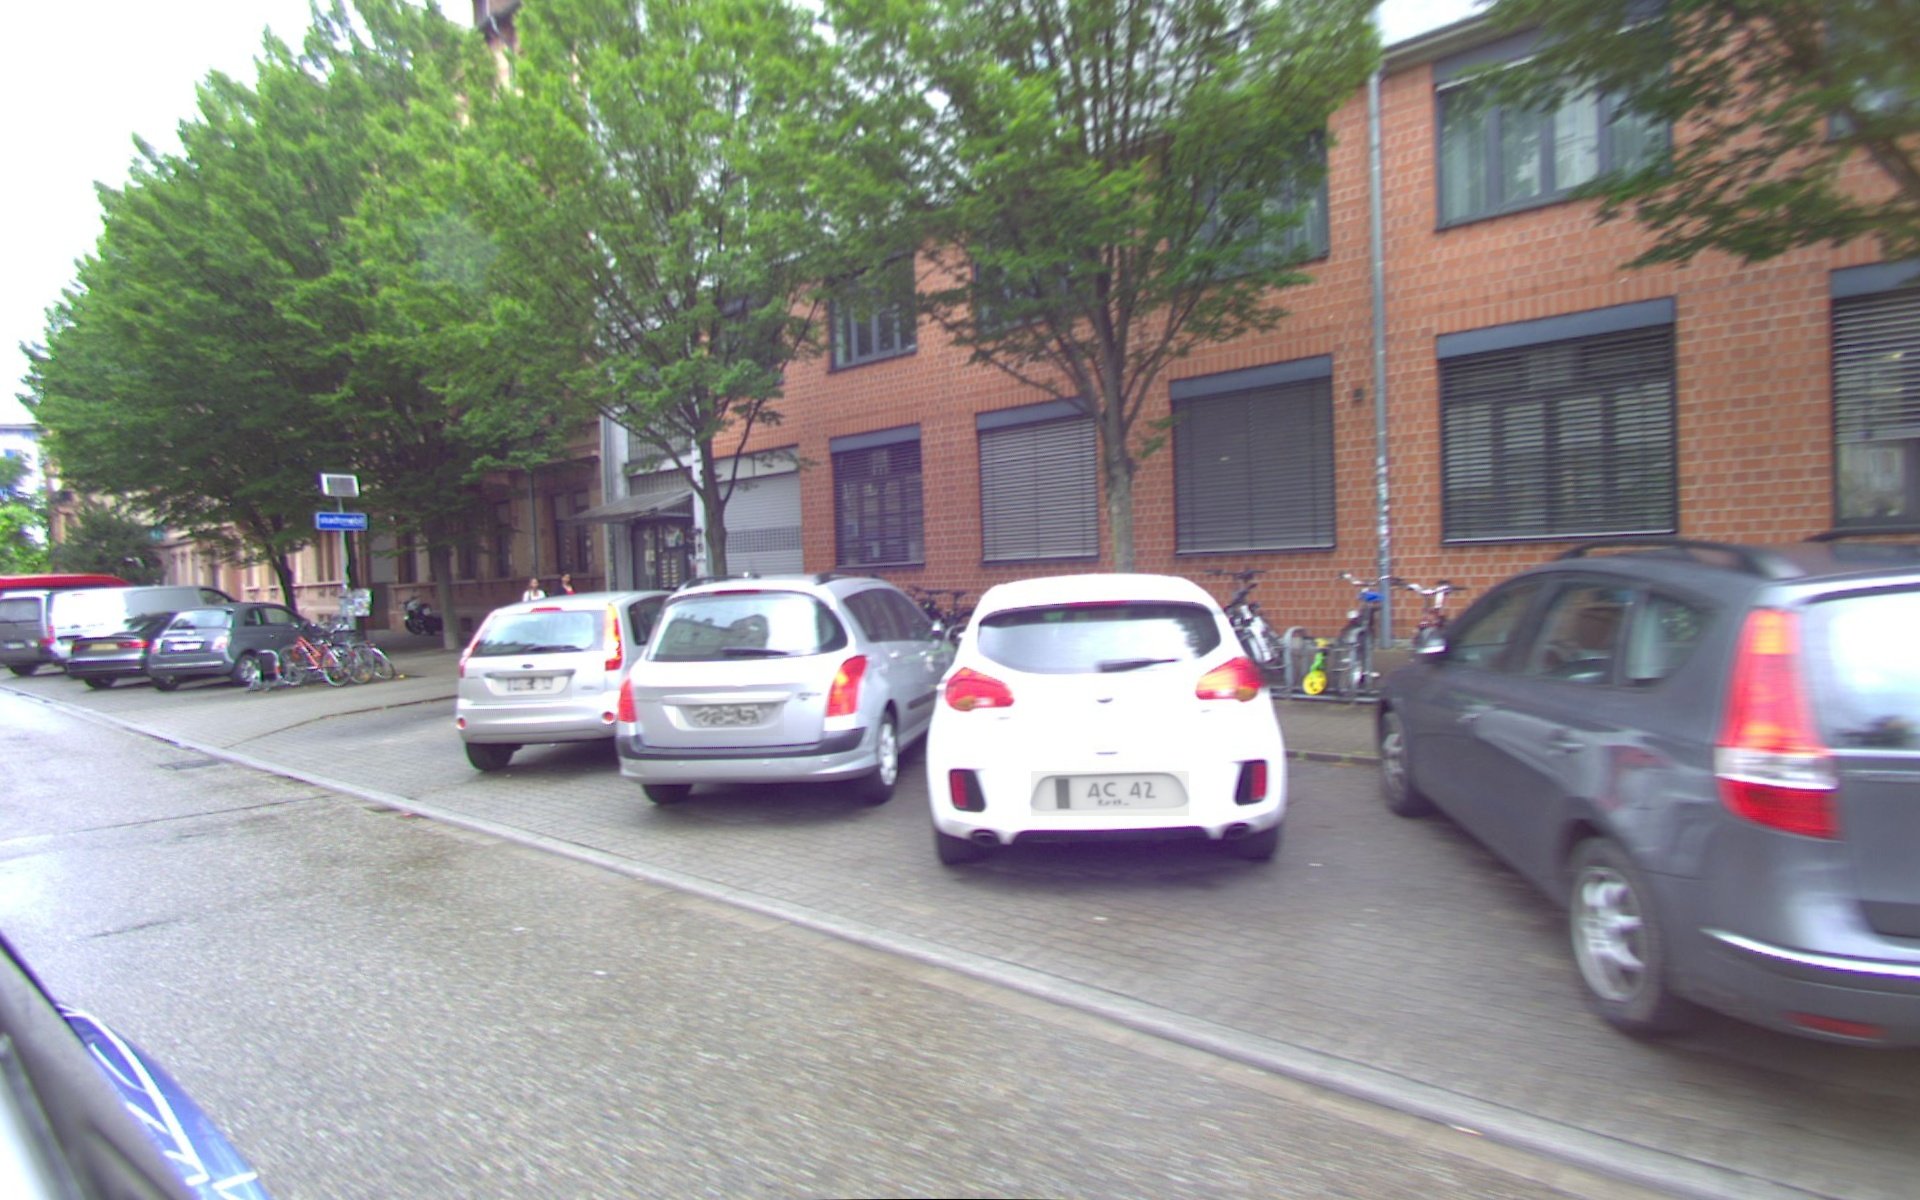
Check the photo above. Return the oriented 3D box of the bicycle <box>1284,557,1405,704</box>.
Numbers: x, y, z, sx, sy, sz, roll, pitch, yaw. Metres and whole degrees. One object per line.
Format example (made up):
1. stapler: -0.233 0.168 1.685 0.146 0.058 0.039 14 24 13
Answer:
1. bicycle: 3.765 0.241 9.811 0.553 1.160 1.879 -1 5 37

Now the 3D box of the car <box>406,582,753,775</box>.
1. car: -3.324 0.602 9.655 1.664 1.463 3.709 -1 0 5

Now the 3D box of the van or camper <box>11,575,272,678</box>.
1. van or camper: -18.947 0.507 23.813 2.304 1.967 4.700 -4 2 -1

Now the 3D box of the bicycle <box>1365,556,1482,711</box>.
1. bicycle: 4.338 0.255 9.387 0.553 1.160 1.879 -1 5 37

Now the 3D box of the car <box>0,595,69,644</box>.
1. car: -39.308 0.872 40.899 2.543 1.798 4.535 -1 4 39

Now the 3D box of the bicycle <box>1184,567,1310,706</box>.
1. bicycle: 3.003 0.328 10.441 0.553 1.160 1.879 -1 5 37

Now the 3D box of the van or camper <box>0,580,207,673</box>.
1. van or camper: -21.759 0.586 25.540 1.760 1.990 4.440 -2 2 7

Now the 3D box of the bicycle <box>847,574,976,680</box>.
1. bicycle: -0.608 0.324 13.462 0.553 1.160 1.879 -1 5 37

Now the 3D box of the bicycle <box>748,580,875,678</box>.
1. bicycle: -2.111 0.383 14.649 0.553 1.160 1.879 -1 5 37

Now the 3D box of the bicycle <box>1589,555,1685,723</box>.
1. bicycle: 5.841 0.274 8.692 0.553 1.160 1.879 -1 5 37

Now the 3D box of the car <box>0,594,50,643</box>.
1. car: -43.546 0.886 44.345 1.853 2.093 5.228 -1 2 15

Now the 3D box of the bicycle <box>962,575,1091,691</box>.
1. bicycle: 0.847 0.360 12.340 0.553 1.160 1.879 -1 5 37

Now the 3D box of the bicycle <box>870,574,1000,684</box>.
1. bicycle: -0.283 0.336 13.114 0.553 1.160 1.879 -1 5 37

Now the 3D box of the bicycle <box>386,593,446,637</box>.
1. bicycle: -15.964 0.440 29.670 2.411 1.202 0.660 -1 5 41

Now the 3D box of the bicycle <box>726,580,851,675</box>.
1. bicycle: -2.505 0.371 15.005 0.553 1.160 1.879 -1 5 37

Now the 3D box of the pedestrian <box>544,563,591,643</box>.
1. pedestrian: -8.196 0.058 21.157 0.588 1.613 0.562 -2 4 35

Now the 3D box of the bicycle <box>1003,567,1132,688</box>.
1. bicycle: 1.302 0.279 11.912 0.553 1.160 1.879 -1 5 37

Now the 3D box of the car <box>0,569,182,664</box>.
1. car: -26.541 0.424 29.806 2.206 2.560 5.552 -2 1 12

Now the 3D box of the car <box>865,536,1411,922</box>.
1. car: 0.970 0.438 6.642 2.309 1.550 4.519 -1 5 6

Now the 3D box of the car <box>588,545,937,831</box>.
1. car: -1.226 0.516 7.679 1.614 1.667 3.379 -1 0 7

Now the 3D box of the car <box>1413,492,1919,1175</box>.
1. car: 3.107 0.458 3.839 1.662 1.553 3.377 -2 2 9

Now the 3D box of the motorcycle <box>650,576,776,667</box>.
1. motorcycle: -4.005 0.324 16.540 0.657 1.234 1.862 -1 5 43

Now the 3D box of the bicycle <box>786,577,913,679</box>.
1. bicycle: -1.500 0.352 14.097 0.553 1.160 1.879 -1 5 37

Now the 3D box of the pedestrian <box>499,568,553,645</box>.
1. pedestrian: -8.899 0.132 20.757 0.586 1.507 0.682 -2 4 35

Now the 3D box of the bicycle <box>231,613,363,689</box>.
1. bicycle: -11.147 0.865 17.010 2.207 1.166 0.744 -3 1 24

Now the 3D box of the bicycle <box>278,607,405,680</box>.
1. bicycle: -10.841 0.763 17.730 2.133 1.166 0.778 -3 1 24

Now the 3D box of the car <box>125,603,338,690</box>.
1. car: -13.675 0.808 19.256 1.627 1.446 3.482 -1 0 -2

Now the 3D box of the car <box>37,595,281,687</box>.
1. car: -16.059 0.745 20.598 1.743 1.457 3.980 -3 2 0
